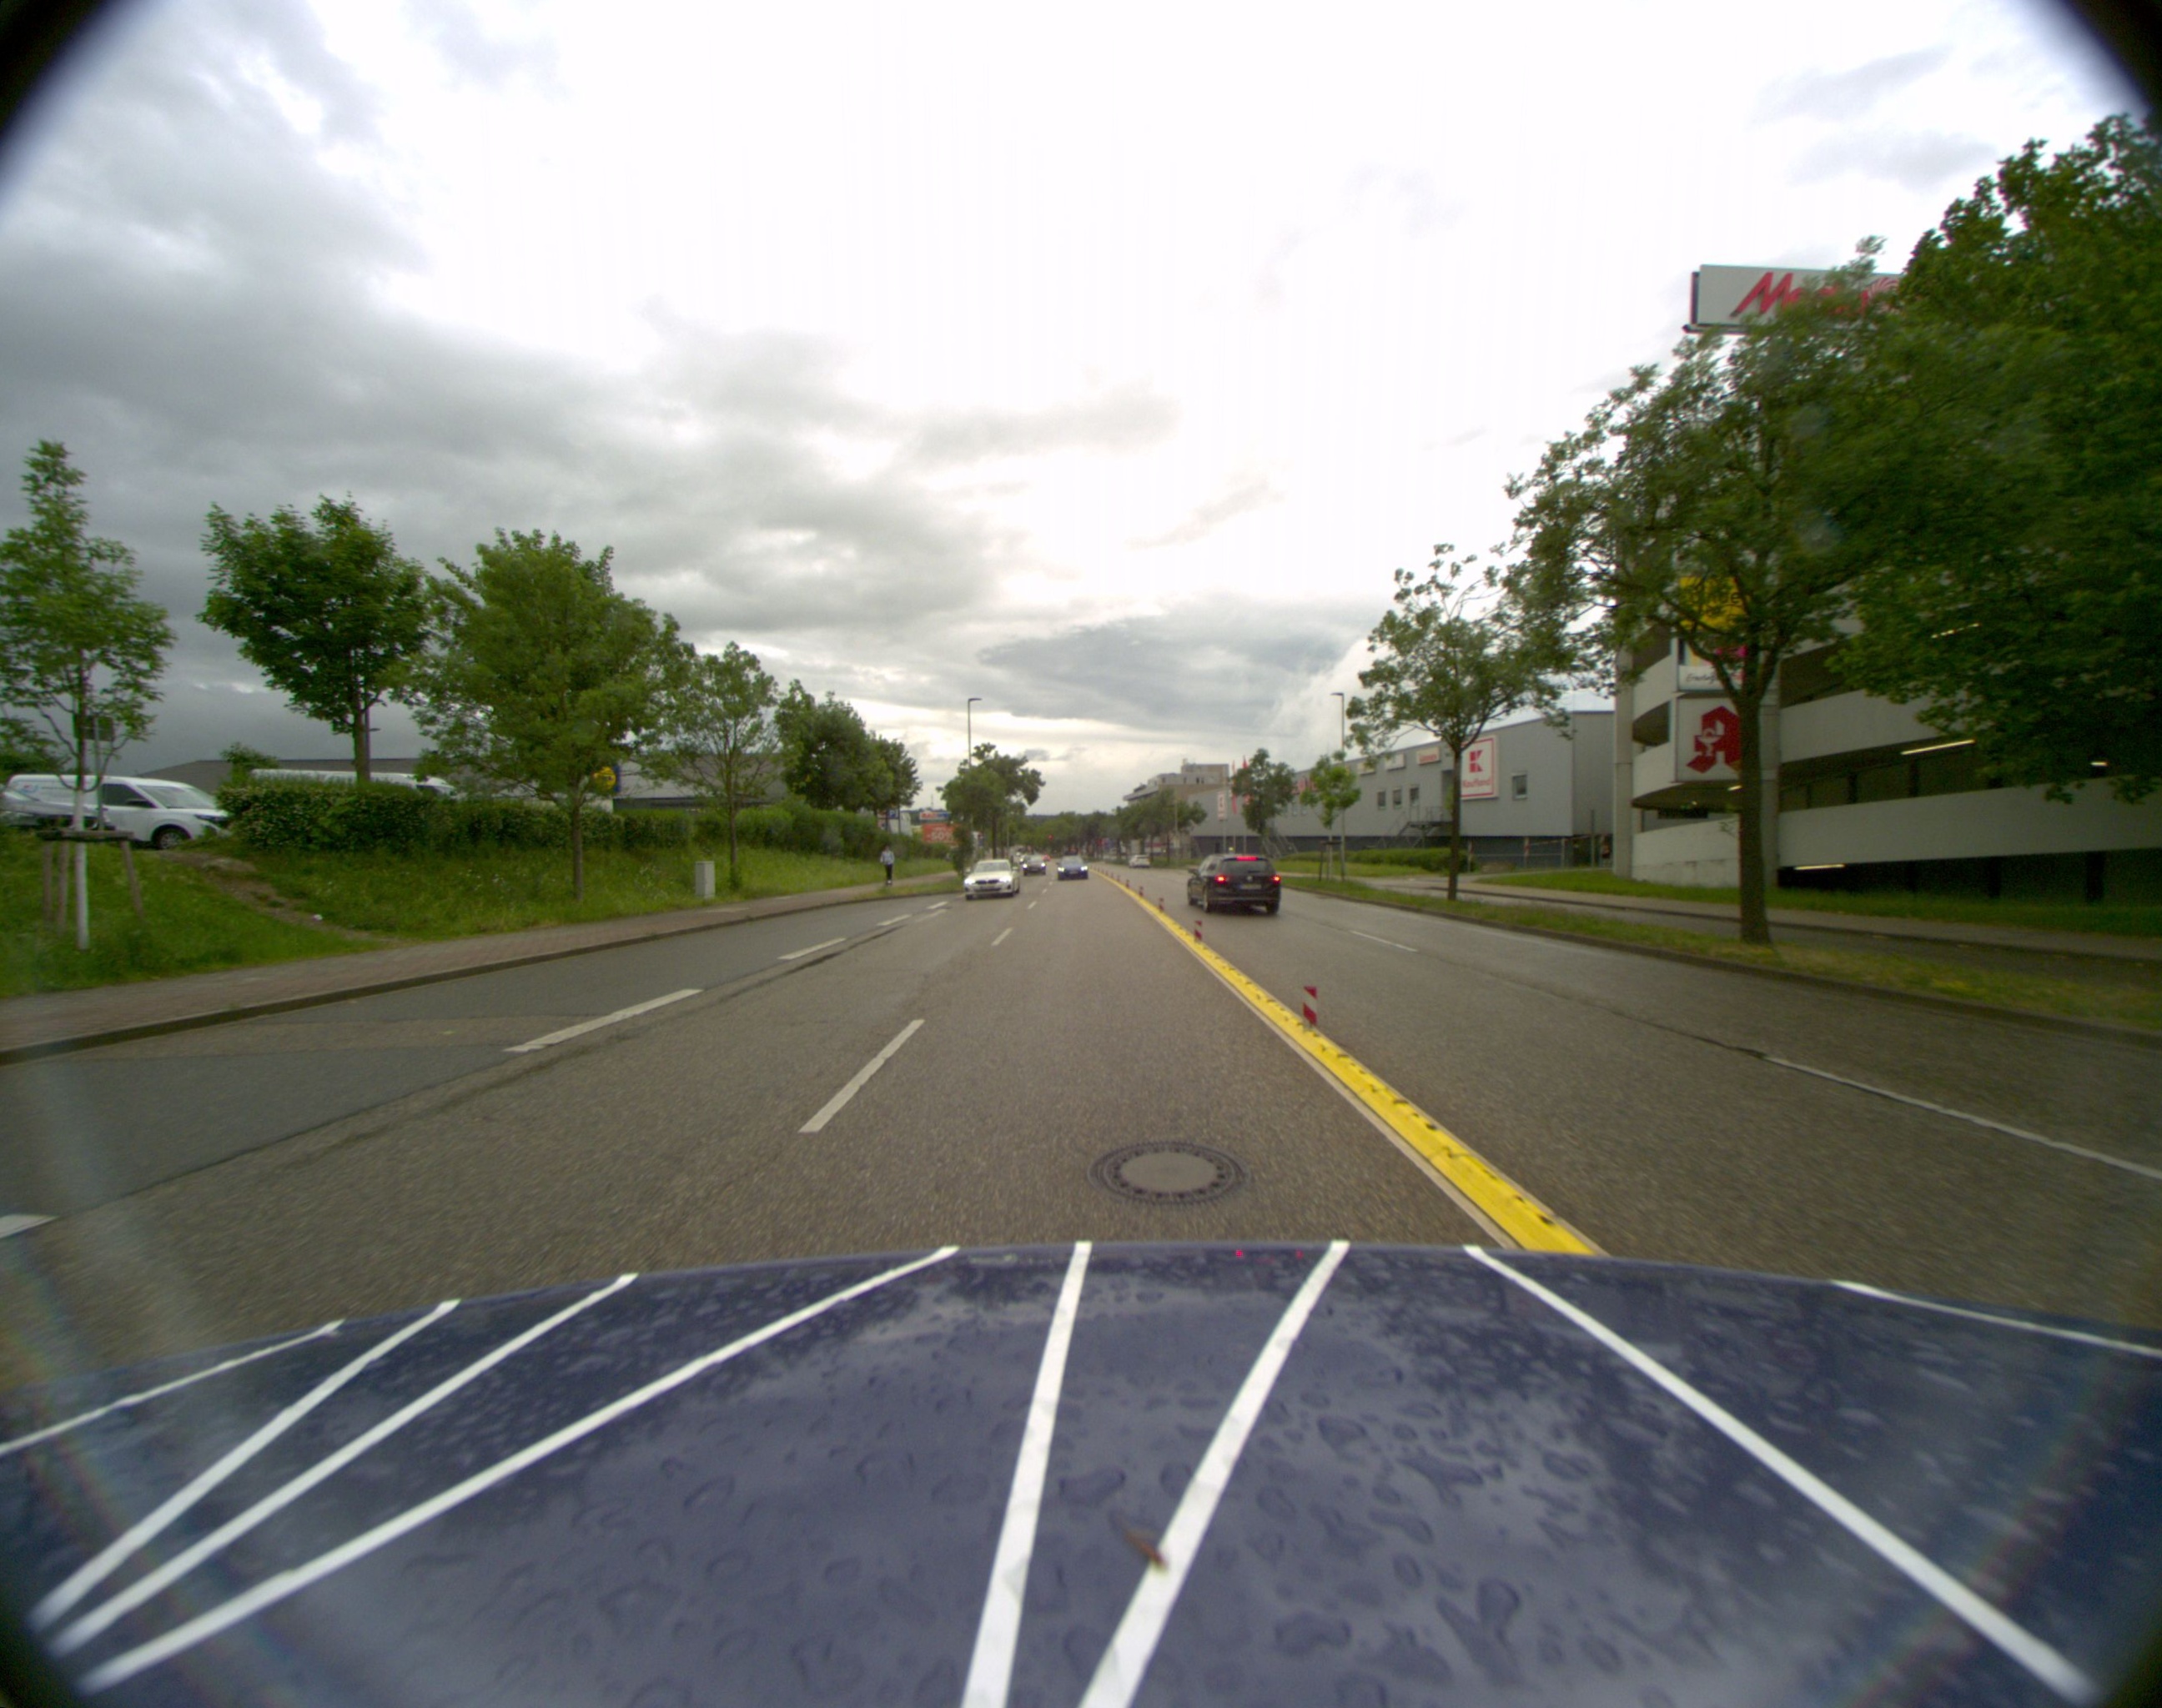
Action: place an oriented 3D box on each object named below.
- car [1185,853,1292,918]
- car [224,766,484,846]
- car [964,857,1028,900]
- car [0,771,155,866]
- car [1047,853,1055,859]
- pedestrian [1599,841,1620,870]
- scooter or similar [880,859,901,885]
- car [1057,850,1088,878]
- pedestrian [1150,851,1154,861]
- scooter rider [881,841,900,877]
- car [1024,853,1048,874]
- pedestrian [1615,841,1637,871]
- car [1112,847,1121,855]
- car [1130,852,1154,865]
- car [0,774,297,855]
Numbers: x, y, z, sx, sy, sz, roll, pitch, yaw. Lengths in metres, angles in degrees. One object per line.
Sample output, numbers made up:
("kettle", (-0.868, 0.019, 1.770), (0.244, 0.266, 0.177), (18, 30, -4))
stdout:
("car", (3.993, 0.743, 20.065), (1.832, 1.457, 4.615), (1, 1, 0))
("car", (-22.257, -1.406, 23.501), (5.625, 2.130, 2.120), (2, 1, -7))
("car", (-3.302, 0.921, 30.303), (1.808, 1.432, 4.542), (-3, 0, 2))
("car", (-20.394, -0.679, 13.867), (4.360, 1.619, 1.927), (2, 1, -5))
("car", (-7.455, 0.468, 188.883), (1.789, 1.398, 4.613), (0, 0, -7))
("pedestrian", (29.452, 0.090, 42.338), (0.450, 1.566, 0.861), (-3, 1, -6))
("scooter or similar", (-9.501, 0.876, 37.879), (0.696, 1.256, 1.400), (1, 1, 0))
("car", (-0.515, 0.573, 47.552), (1.799, 1.572, 4.218), (-3, 0, -1))
("pedestrian", (11.670, 0.386, 124.871), (0.586, 1.574, 0.766), (-3, 1, -4))
("scooter rider", (-9.491, 0.241, 37.836), (0.696, 1.810, 0.858), (1, 1, 0))
("car", (-3.700, 0.738, 62.305), (1.799, 1.572, 4.217), (-3, 0, -3))
("pedestrian", (29.632, 0.104, 41.320), (0.451, 1.566, 0.859), (-4, 2, -32))
("car", (9.965, -0.948, 215.738), (1.999, 2.002, 4.884), (-5, 1, -1))
("car", (6.696, 0.514, 83.865), (1.905, 1.400, 4.421), (0, 0, -6))
("car", (-21.430, -0.863, 17.579), (4.360, 1.619, 1.927), (2, 1, -5))
